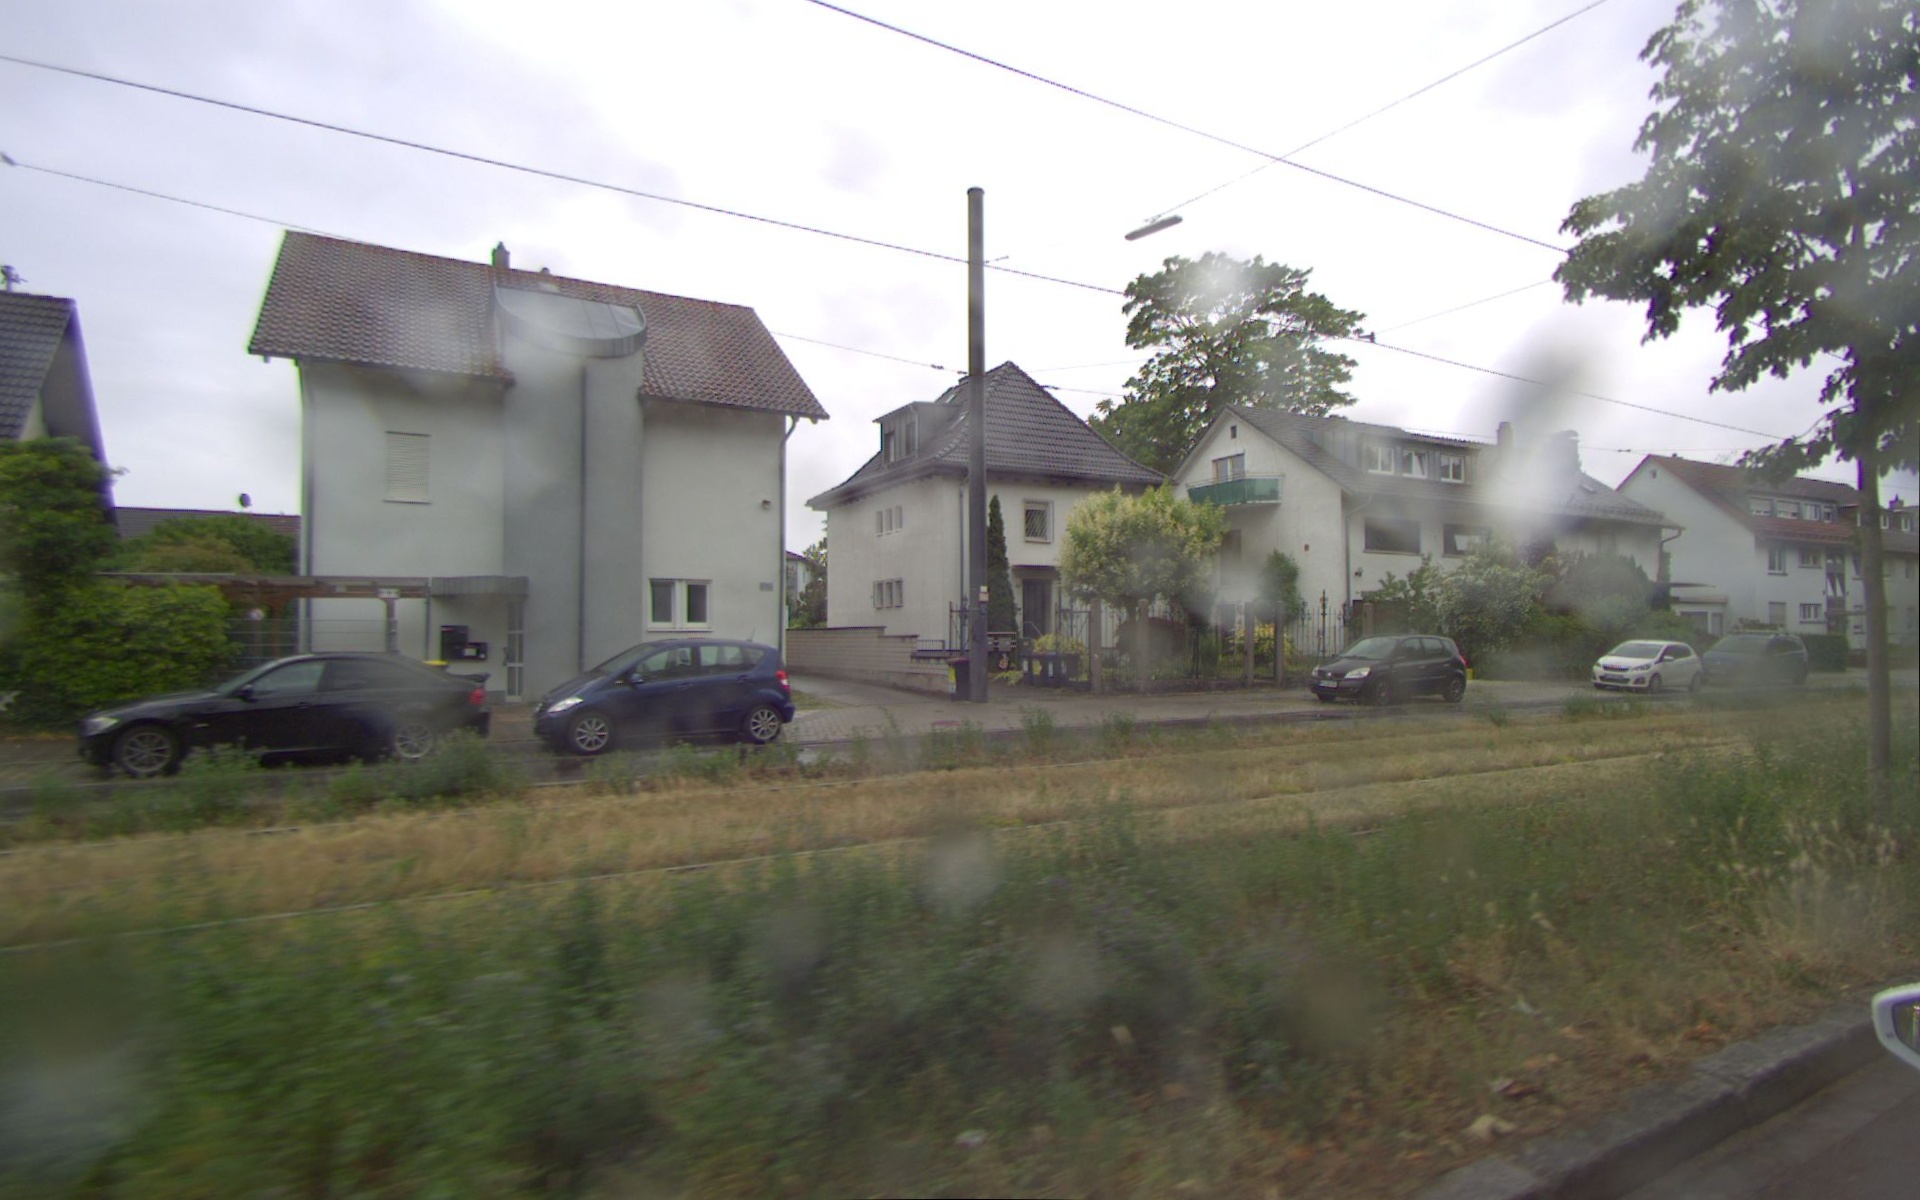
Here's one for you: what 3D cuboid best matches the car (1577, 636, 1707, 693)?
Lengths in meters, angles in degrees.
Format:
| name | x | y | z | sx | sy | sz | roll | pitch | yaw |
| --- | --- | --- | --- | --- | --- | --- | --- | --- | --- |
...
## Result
| name | x | y | z | sx | sy | sz | roll | pitch | yaw |
| --- | --- | --- | --- | --- | --- | --- | --- | --- | --- |
| car | 20.268 | 1.874 | 29.843 | 3.553 | 1.508 | 1.788 | 0 | -1 | -29 |

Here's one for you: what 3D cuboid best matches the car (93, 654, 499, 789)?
| name | x | y | z | sx | sy | sz | roll | pitch | yaw |
| --- | --- | --- | --- | --- | --- | --- | --- | --- | --- |
| car | -8.467 | 1.478 | 13.291 | 4.188 | 1.368 | 1.985 | 0 | -1 | -29 |

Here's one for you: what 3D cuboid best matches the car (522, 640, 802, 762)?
| name | x | y | z | sx | sy | sz | roll | pitch | yaw |
| --- | --- | --- | --- | --- | --- | --- | --- | --- | --- |
| car | -4.568 | 1.446 | 15.465 | 3.825 | 1.571 | 1.865 | 0 | -1 | -31 |

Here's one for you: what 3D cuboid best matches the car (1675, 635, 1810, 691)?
| name | x | y | z | sx | sy | sz | roll | pitch | yaw |
| --- | --- | --- | --- | --- | --- | --- | --- | --- | --- |
| car | 25.781 | 2.027 | 33.077 | 4.359 | 1.635 | 1.985 | 0 | -1 | -29 |

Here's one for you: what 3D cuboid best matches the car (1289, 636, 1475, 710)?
| name | x | y | z | sx | sy | sz | roll | pitch | yaw |
| --- | --- | --- | --- | --- | --- | --- | --- | --- | --- |
| car | 10.107 | 1.685 | 24.034 | 4.154 | 1.536 | 1.985 | 0 | -1 | -29 |
